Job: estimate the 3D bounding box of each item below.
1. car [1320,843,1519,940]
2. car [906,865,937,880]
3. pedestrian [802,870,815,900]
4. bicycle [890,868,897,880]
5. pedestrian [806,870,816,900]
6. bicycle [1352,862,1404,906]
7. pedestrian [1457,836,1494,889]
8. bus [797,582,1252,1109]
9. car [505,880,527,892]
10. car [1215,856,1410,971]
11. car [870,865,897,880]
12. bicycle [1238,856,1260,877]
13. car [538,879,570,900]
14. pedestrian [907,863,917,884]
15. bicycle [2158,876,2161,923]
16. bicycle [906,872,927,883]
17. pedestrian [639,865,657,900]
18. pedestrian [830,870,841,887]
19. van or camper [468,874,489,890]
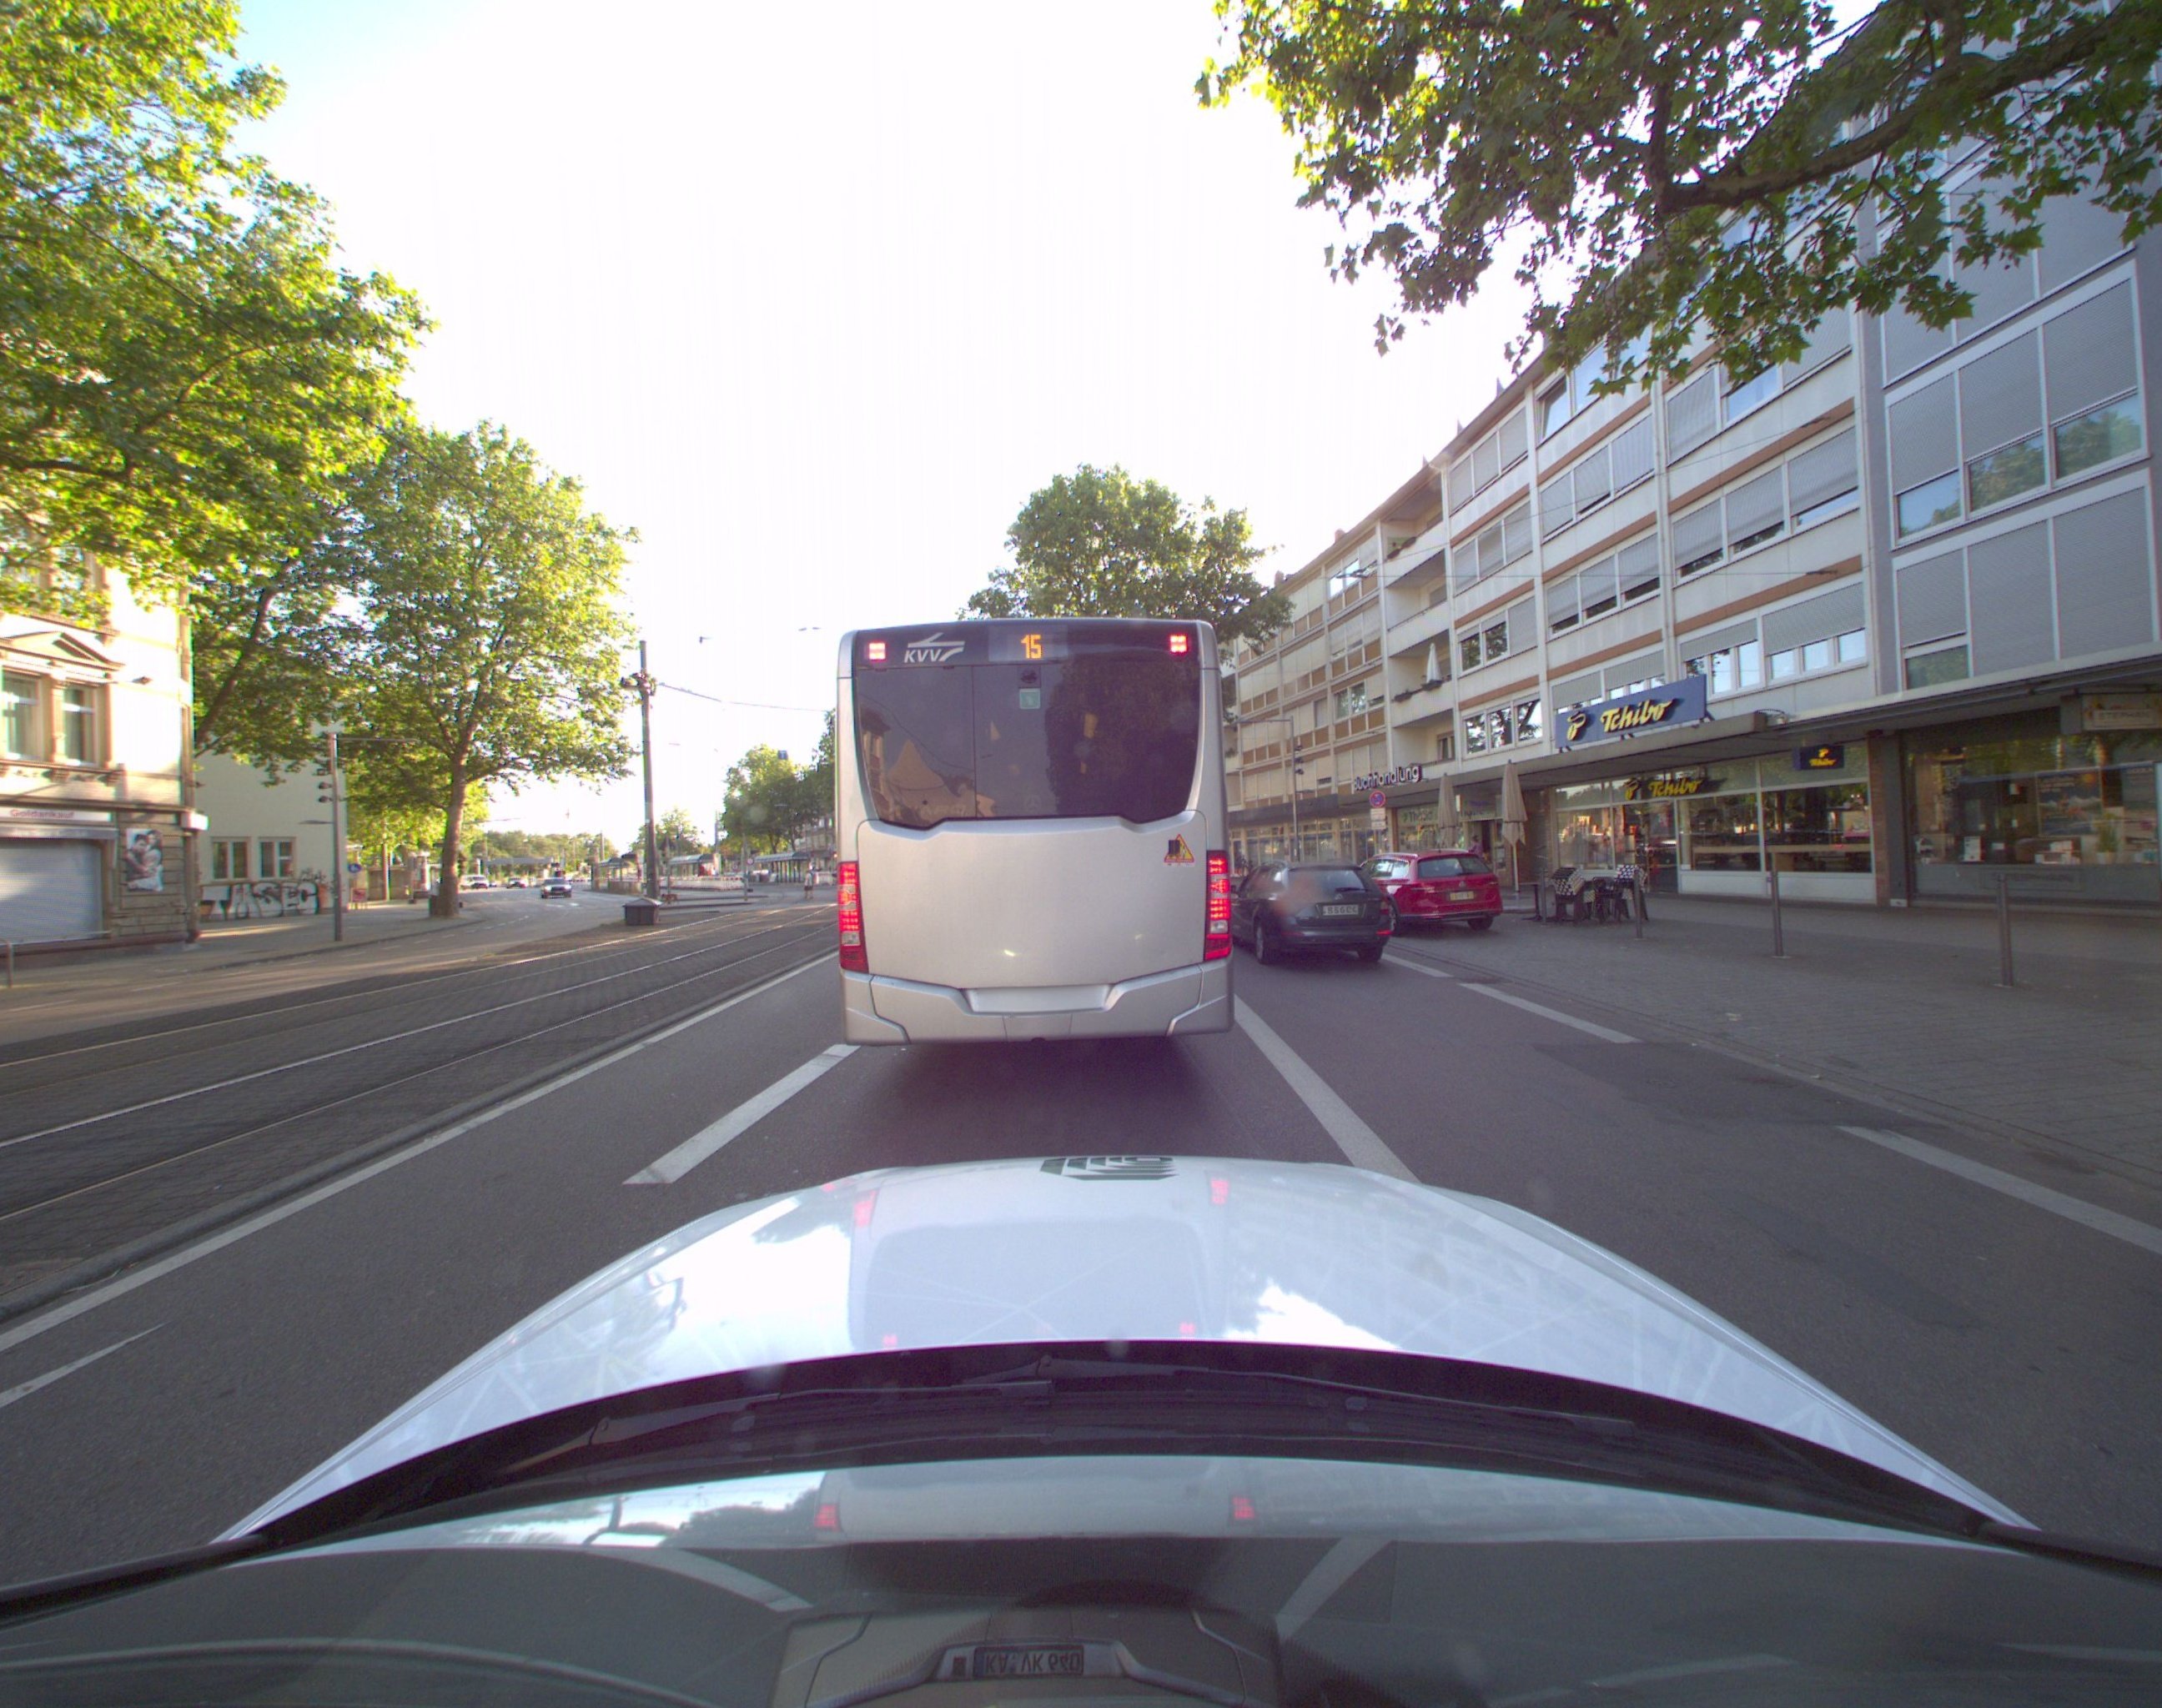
[{"bbox_3d":[6.354,0.637,15.952,1.774,1.496,4.563,-4,0,-2],"label":"car"},{"bbox_3d":[-16.001,1.854,81.520,1.675,1.394,3.374,-6,2,-37],"label":"car"},{"bbox_3d":[-13.844,1.558,41.367,0.522,1.504,0.589,-2,-1,-21],"label":"pedestrian"},{"bbox_3d":[-19.706,2.101,85.569,0.508,1.211,2.079,-2,0,-19],"label":"bicycle"},{"bbox_3d":[-13.924,1.607,42.057,0.410,1.504,0.513,-2,-1,-22],"label":"pedestrian"},{"bbox_3d":[7.841,0.776,21.565,0.511,1.070,1.657,-4,0,-7],"label":"bicycle"},{"bbox_3d":[11.855,0.254,24.497,0.638,1.552,0.806,-2,-1,-6],"label":"pedestrian"},{"bbox_3d":[-0.330,-0.005,10.051,2.649,3.099,10.214,-2,-1,0],"label":"bus"},{"bbox_3d":[-81.562,4.635,117.579,1.903,1.585,4.154,-2,-1,-45],"label":"car"},{"bbox_3d":[3.374,0.795,12.721,1.798,1.474,4.069,-1,-1,-1],"label":"car"},{"bbox_3d":[-21.537,2.045,88.715,1.675,1.468,3.375,-6,2,-36],"label":"car"},{"bbox_3d":[9.361,0.693,45.369,0.438,1.092,1.453,-5,0,-18],"label":"bicycle"},{"bbox_3d":[-40.199,2.706,62.028,1.900,1.472,4.161,-2,-1,-35],"label":"car"},{"bbox_3d":[-14.570,1.683,70.101,0.713,1.725,0.401,-3,-1,26],"label":"pedestrian"},{"bbox_3d":[8.712,0.669,5.506,0.294,1.040,1.711,-5,0,-12],"label":"bicycle"},{"bbox_3d":[-14.308,2.027,70.683,1.823,0.942,0.466,-3,-1,26],"label":"bicycle"},{"bbox_3d":[-21.520,1.418,40.461,0.426,1.710,0.681,-1,-1,33],"label":"pedestrian"},{"bbox_3d":[-19.573,1.973,64.858,0.779,1.303,0.590,-2,-1,-19],"label":"pedestrian"},{"bbox_3d":[-93.128,4.307,125.900,2.183,2.319,5.050,-2,-1,-33],"label":"van or camper"}]
